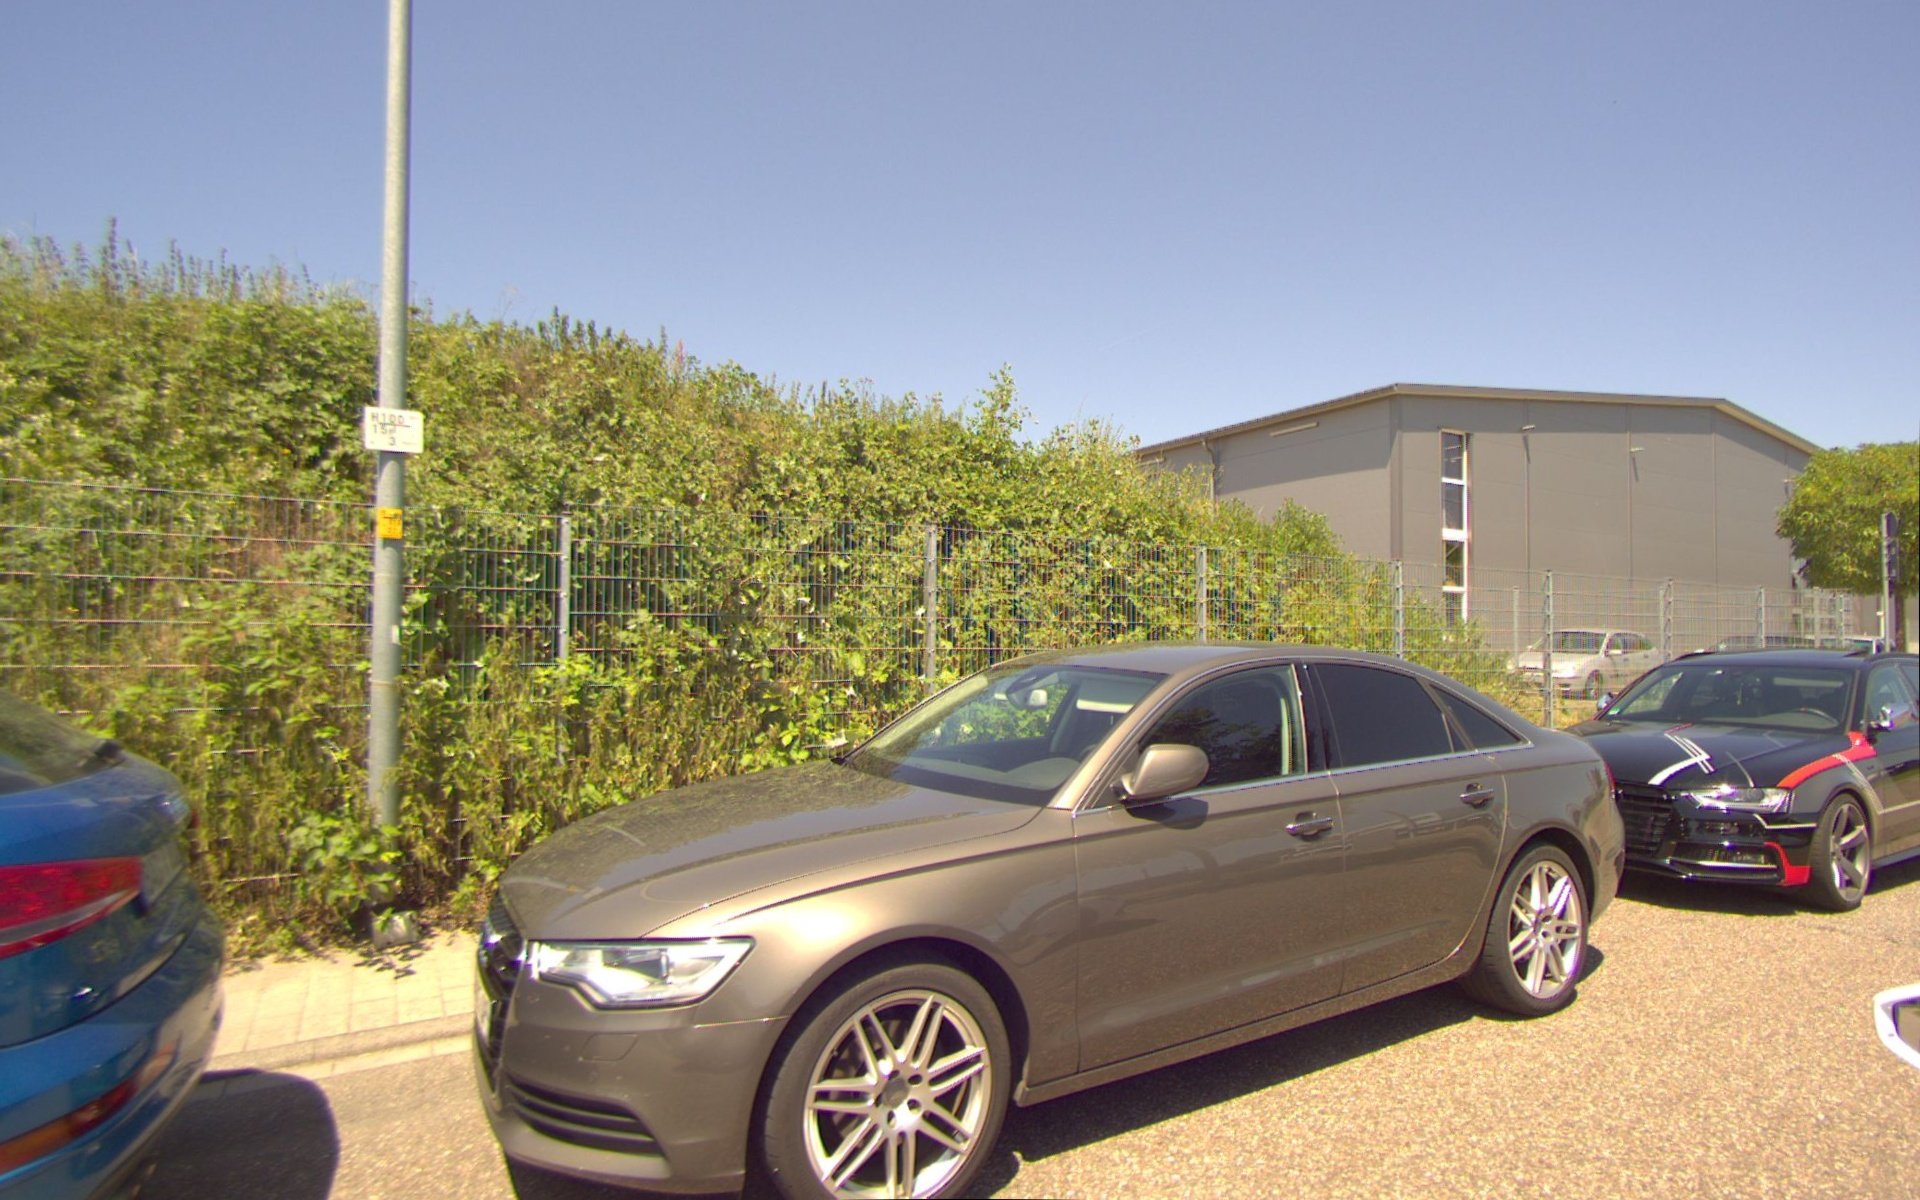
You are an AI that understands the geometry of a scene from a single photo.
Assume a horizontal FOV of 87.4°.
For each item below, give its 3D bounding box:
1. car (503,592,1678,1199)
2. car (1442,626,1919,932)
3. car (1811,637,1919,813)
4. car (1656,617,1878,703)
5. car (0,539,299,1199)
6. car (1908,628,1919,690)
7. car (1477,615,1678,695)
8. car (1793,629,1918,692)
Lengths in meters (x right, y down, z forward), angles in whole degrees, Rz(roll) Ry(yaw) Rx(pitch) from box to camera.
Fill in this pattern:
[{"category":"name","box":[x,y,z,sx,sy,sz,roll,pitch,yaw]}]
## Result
[{"category":"car","box":[0.718,0.838,4.006,4.467,1.519,1.816,2,-3,-30]},{"category":"car","box":[5.550,0.985,6.943,4.467,1.519,1.816,2,-3,-30]},{"category":"car","box":[10.180,1.125,9.596,4.209,1.519,1.816,2,-3,-30]},{"category":"car","box":[15.689,1.169,19.505,4.274,1.519,1.817,1,-5,-29]},{"category":"car","box":[-3.563,0.688,1.370,4.338,1.591,1.815,2,-3,-32]},{"category":"car","box":[25.324,1.462,25.114,3.668,1.520,1.671,2,-2,-35]},{"category":"car","box":[13.163,1.137,21.368,4.207,1.520,1.816,2,-1,-29]},{"category":"car","box":[23.854,1.576,26.720,3.667,1.520,1.672,2,-1,-34]}]
